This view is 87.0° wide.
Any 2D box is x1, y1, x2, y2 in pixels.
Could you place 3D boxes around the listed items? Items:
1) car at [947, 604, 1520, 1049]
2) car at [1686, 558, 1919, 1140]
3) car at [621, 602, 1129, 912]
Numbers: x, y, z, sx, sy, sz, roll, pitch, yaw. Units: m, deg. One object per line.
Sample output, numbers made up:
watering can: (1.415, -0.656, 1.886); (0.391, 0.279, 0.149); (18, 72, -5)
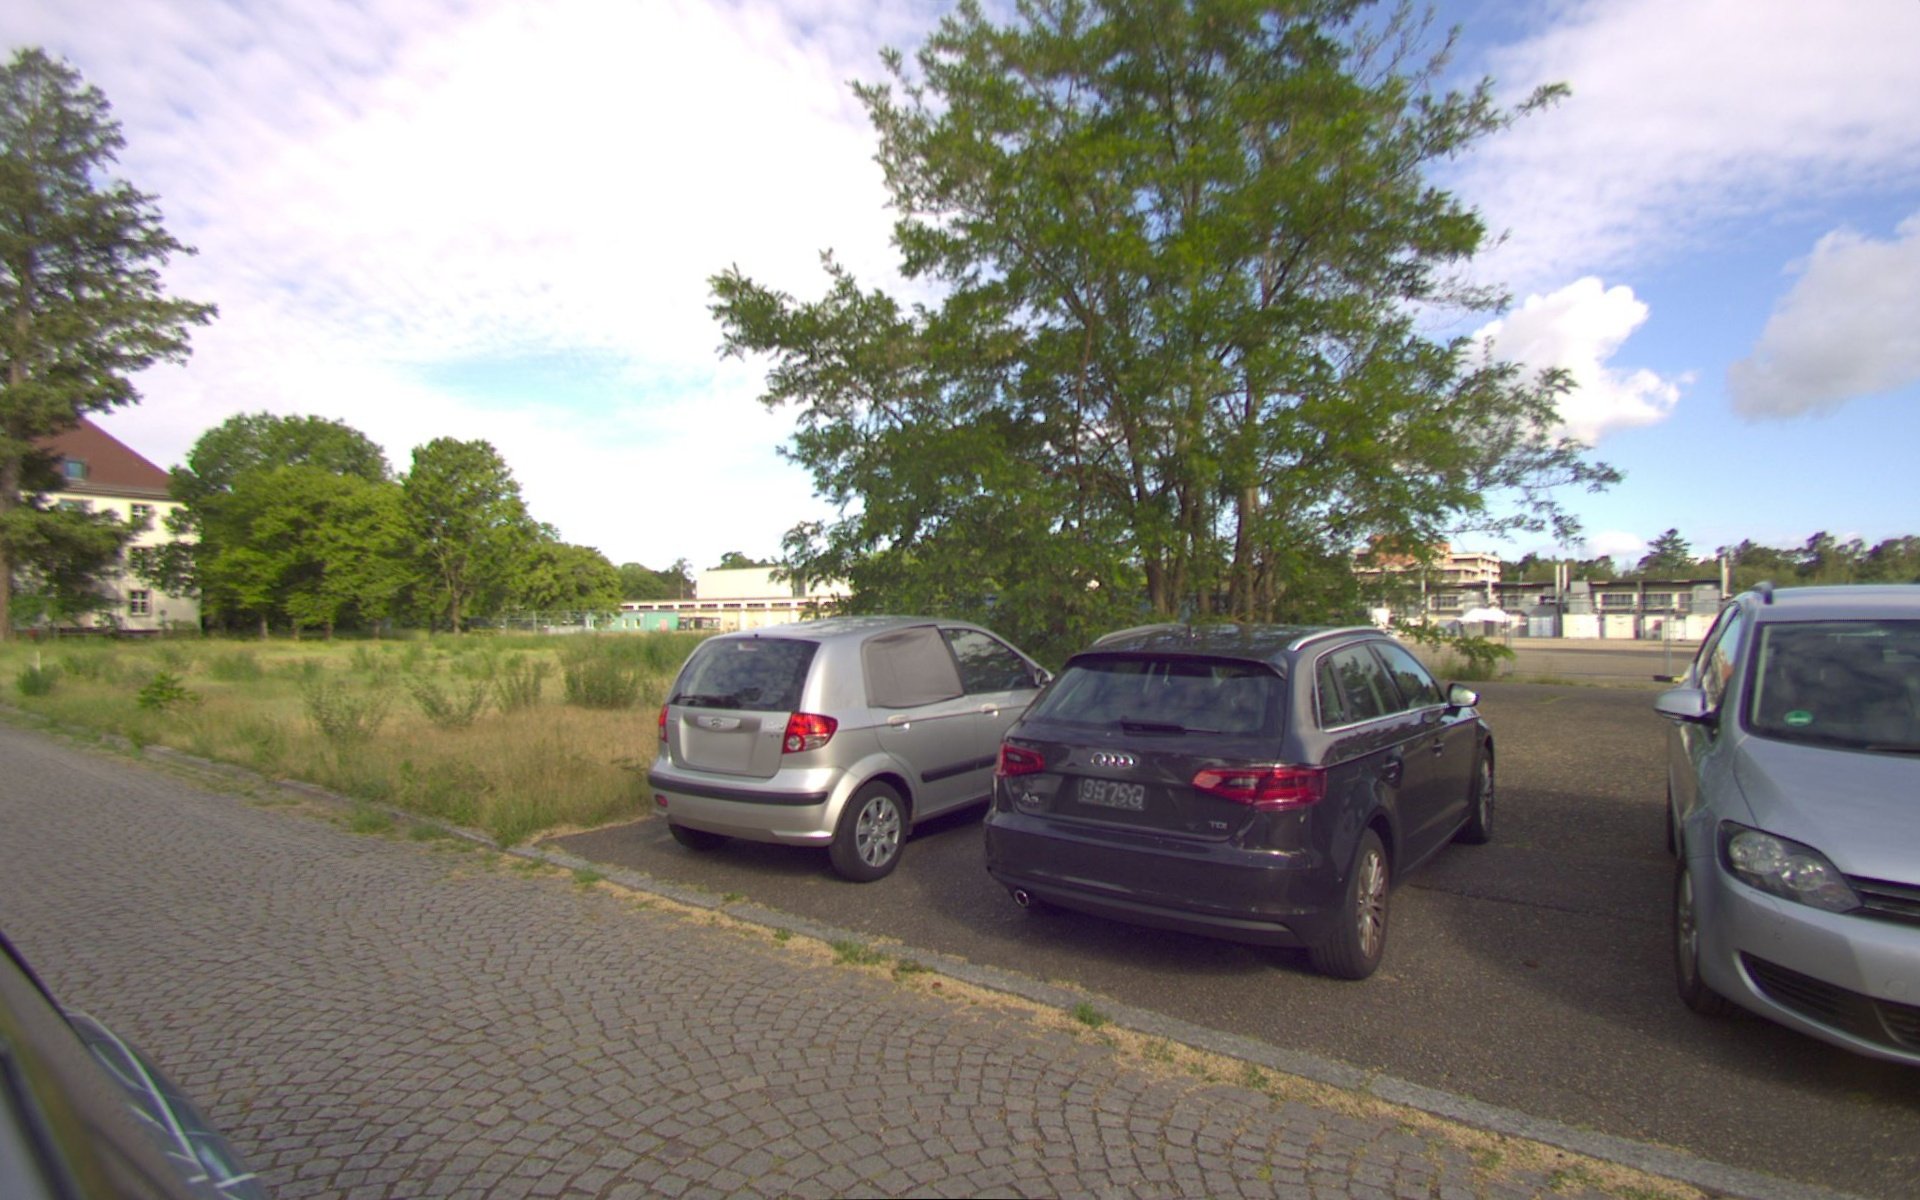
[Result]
car: (1.772, 0.799, 5.504); (1.693, 1.419, 3.800); (-1, 1, 37)
car: (4.078, 0.650, 4.131); (1.732, 1.619, 3.798); (-1, 0, 35)
car: (-0.351, 0.818, 7.098); (1.644, 1.487, 3.545); (-1, 1, 35)
